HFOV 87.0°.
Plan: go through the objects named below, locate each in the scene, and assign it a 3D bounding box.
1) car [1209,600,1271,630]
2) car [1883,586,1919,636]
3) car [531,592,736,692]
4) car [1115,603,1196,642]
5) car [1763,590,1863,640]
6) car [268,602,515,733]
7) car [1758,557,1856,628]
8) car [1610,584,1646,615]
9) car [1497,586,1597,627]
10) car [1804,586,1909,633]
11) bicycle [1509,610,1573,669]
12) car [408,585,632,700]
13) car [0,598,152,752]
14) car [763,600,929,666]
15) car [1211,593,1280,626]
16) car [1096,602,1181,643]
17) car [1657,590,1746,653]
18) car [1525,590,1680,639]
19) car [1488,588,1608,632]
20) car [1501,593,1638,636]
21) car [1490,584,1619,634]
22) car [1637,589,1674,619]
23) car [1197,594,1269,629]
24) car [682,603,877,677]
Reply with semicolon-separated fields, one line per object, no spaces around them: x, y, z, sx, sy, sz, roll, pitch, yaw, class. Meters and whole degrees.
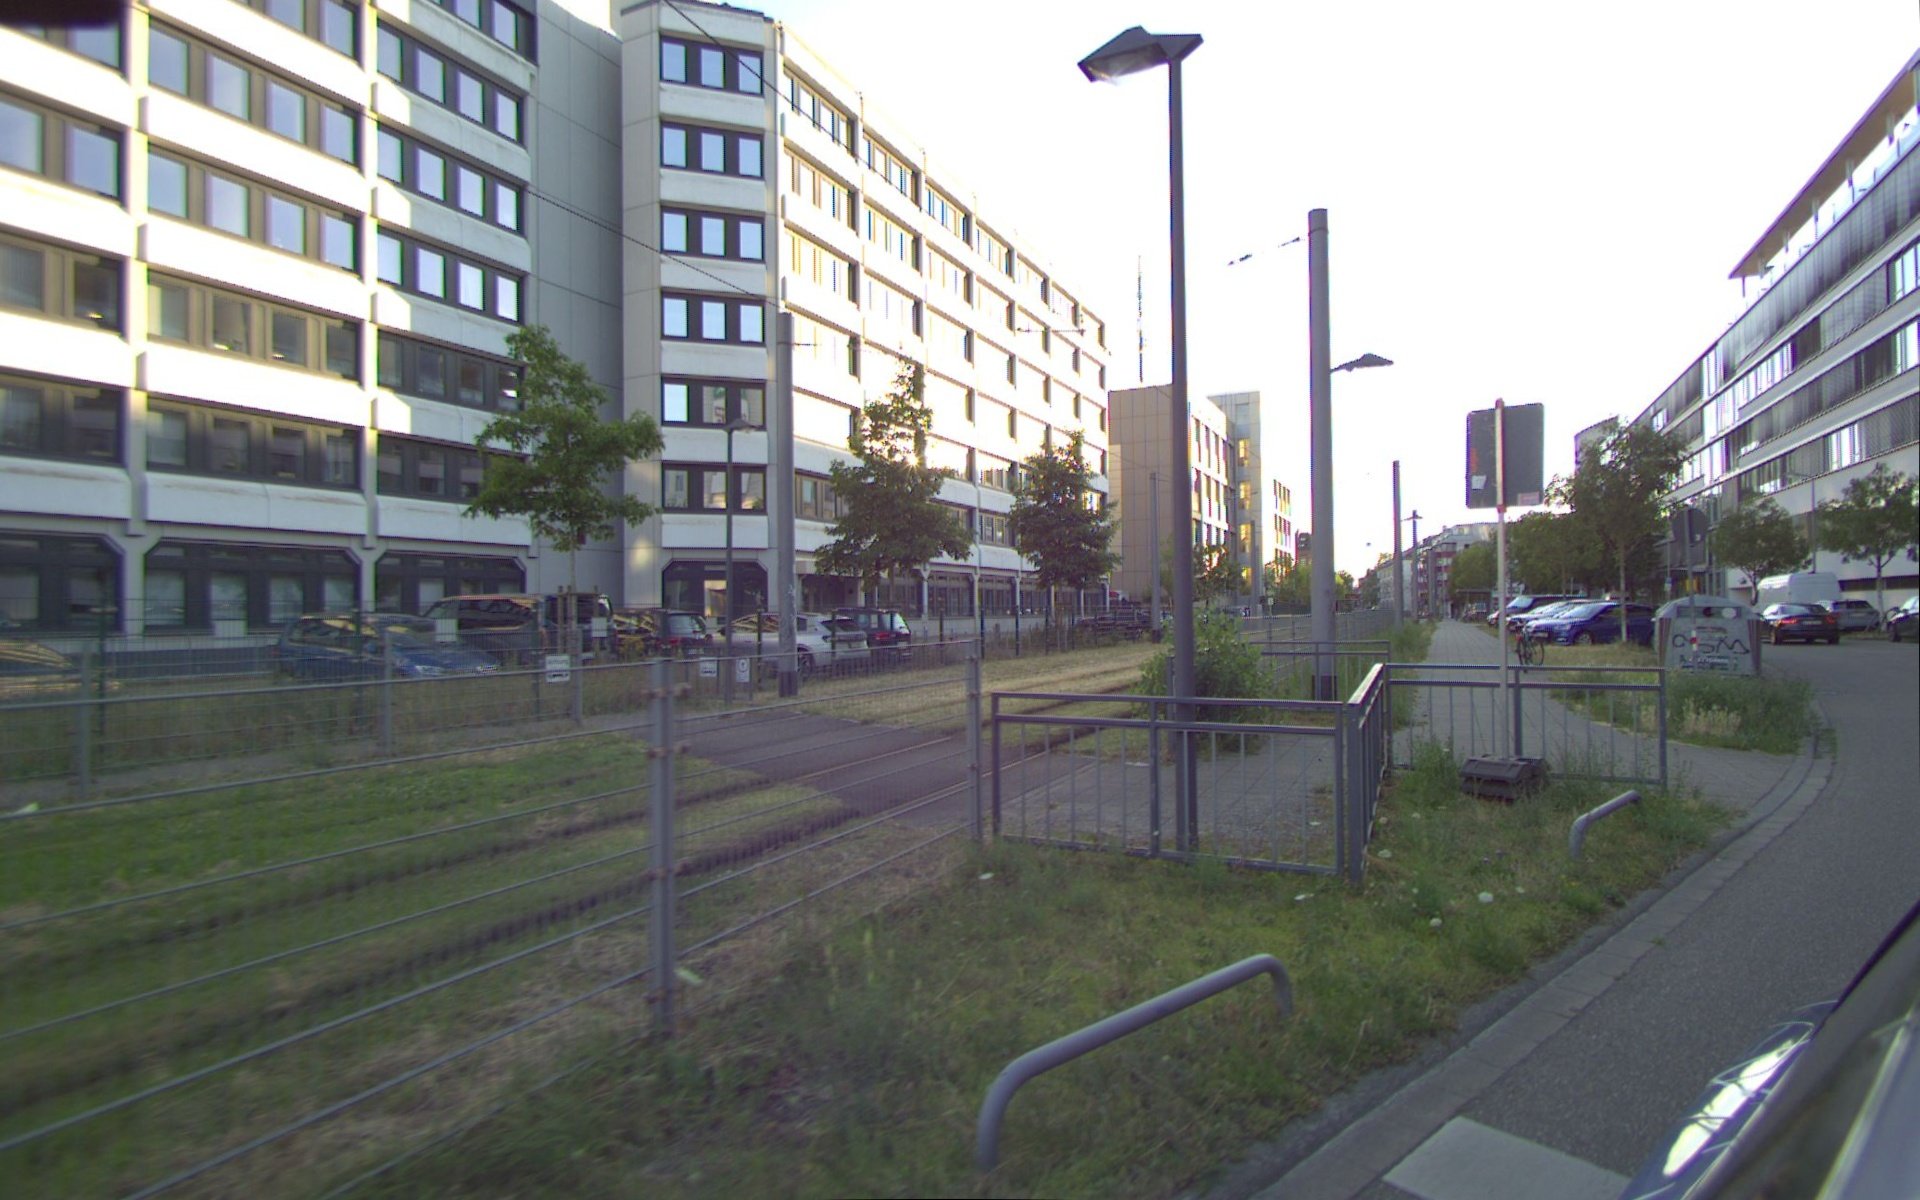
19.910;1.068;71.928;3.957;2.039;1.983;-1;-1;25;car
31.130;0.311;31.884;1.778;1.571;3.967;-3;-2;24;car
-7.274;0.913;22.495;4.234;2.039;1.980;-2;-1;29;car
10.670;1.208;55.131;3.957;2.039;1.983;-1;-1;25;car
29.522;0.504;35.179;1.845;1.517;4.622;-4;-2;31;car
-9.926;1.101;17.650;3.963;2.039;1.980;-2;-1;29;car
37.432;-0.286;44.921;1.986;2.912;6.195;0;-1;27;car
59.882;-0.027;90.778;1.978;2.618;3.966;-1;-1;24;car
29.348;0.331;50.613;4.088;1.984;1.720;-1;-1;-9;car
34.931;0.367;39.542;1.776;1.724;3.971;0;0;21;car
11.870;0.783;20.662;1.892;1.149;0.541;0;-2;-42;bicycle
-8.556;0.799;19.647;3.963;2.039;1.980;-2;-1;29;car
-12.538;0.915;13.114;3.966;1.772;1.978;-2;-1;31;car
-2.976;0.850;26.203;3.963;1.613;1.799;-2;-1;29;car
18.210;0.610;64.532;3.957;2.039;1.983;-1;-1;25;car
9.273;1.188;52.643;3.957;2.039;1.983;-1;-1;25;car
19.224;0.536;26.353;1.619;1.531;3.377;-1;-1;33;car
19.993;0.446;31.553;3.917;1.394;1.720;-1;-1;-11;car
23.565;0.398;40.613;3.918;1.665;1.720;-1;-1;-9;car
21.303;0.512;35.407;3.917;1.394;1.720;-1;-1;-11;car
22.416;0.340;38.221;3.918;1.779;1.720;-1;-1;-9;car
53.277;0.340;77.573;1.983;2.040;3.956;-1;-5;30;car
16.779;0.695;62.141;3.957;2.039;1.983;-1;-1;25;car
-4.274;0.928;23.817;4.365;1.613;1.799;-2;-1;29;car
